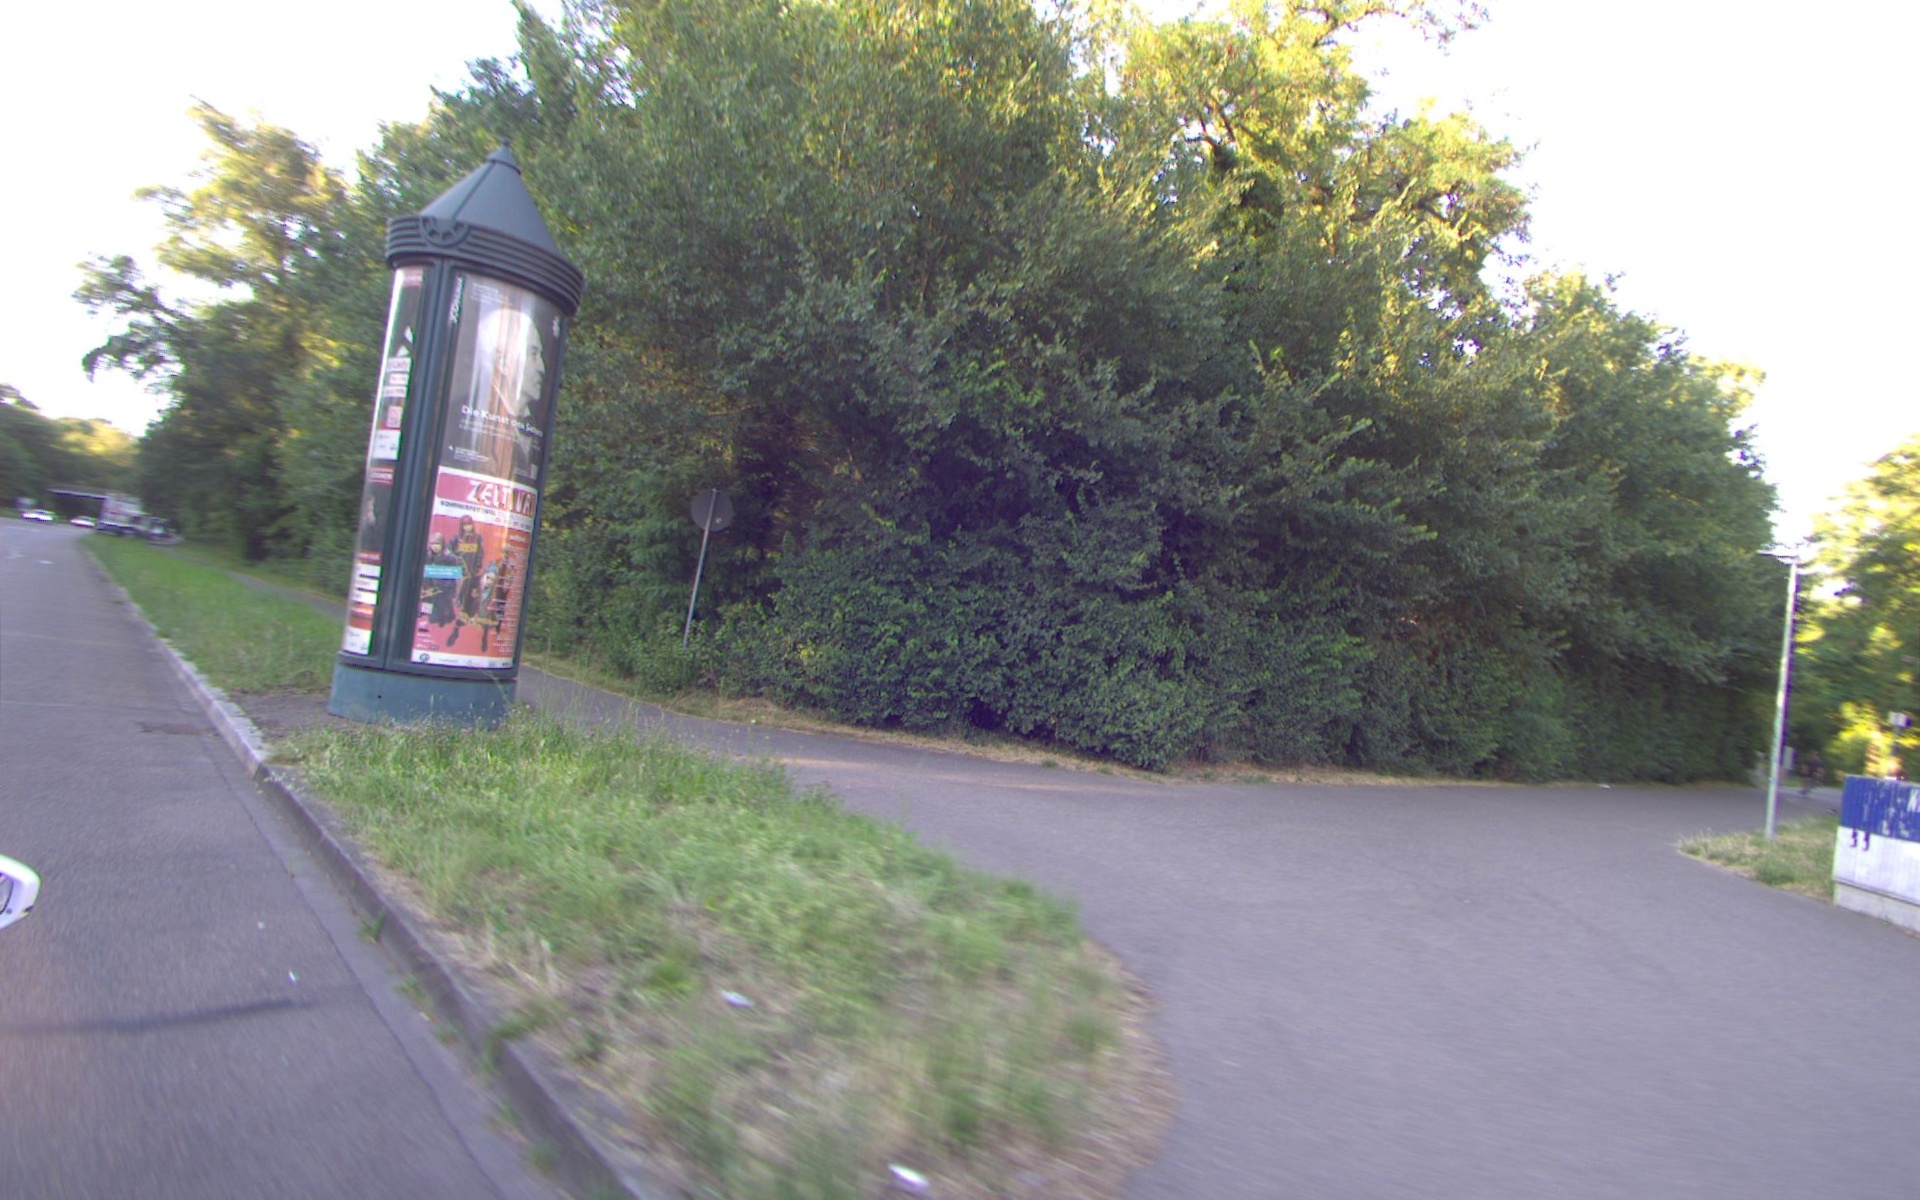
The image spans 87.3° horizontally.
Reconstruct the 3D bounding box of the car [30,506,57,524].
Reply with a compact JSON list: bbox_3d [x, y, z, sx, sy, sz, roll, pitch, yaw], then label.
[{"bbox_3d":[-101.861,-9.418,111.892,1.828,1.524,3.898,9,-4,-39],"label":"car"}]

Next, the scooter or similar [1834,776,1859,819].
[{"bbox_3d":[24.171,5.391,27.421,0.828,1.097,0.193,9,-3,-29],"label":"scooter or similar"}]

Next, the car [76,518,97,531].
[{"bbox_3d":[-115.888,-9.980,133.542,1.709,1.462,4.130,10,-3,-38],"label":"car"}]

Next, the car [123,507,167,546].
[{"bbox_3d":[-70.483,-6.355,87.003,2.402,2.889,5.865,11,-4,-41],"label":"car"}]

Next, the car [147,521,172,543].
[{"bbox_3d":[-105.365,-8.904,132.524,1.983,2.436,5.772,8,-4,-35],"label":"car"}]

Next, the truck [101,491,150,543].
[{"bbox_3d":[-76.533,-7.544,92.401,2.647,4.072,9.622,10,-3,-38],"label":"truck"}]

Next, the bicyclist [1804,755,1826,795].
[{"bbox_3d":[32.423,6.620,38.148,0.489,1.433,0.566,7,-2,43],"label":"bicyclist"}]

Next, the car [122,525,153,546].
[{"bbox_3d":[-66.731,-5.257,81.600,1.693,1.421,4.029,10,-3,-41],"label":"car"}]

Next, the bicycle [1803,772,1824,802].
[{"bbox_3d":[32.410,7.076,38.185,0.495,1.026,1.521,7,-2,42],"label":"bicycle"}]

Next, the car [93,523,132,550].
[{"bbox_3d":[-55.358,-4.143,65.763,1.659,1.419,3.900,13,-5,-39],"label":"car"}]
